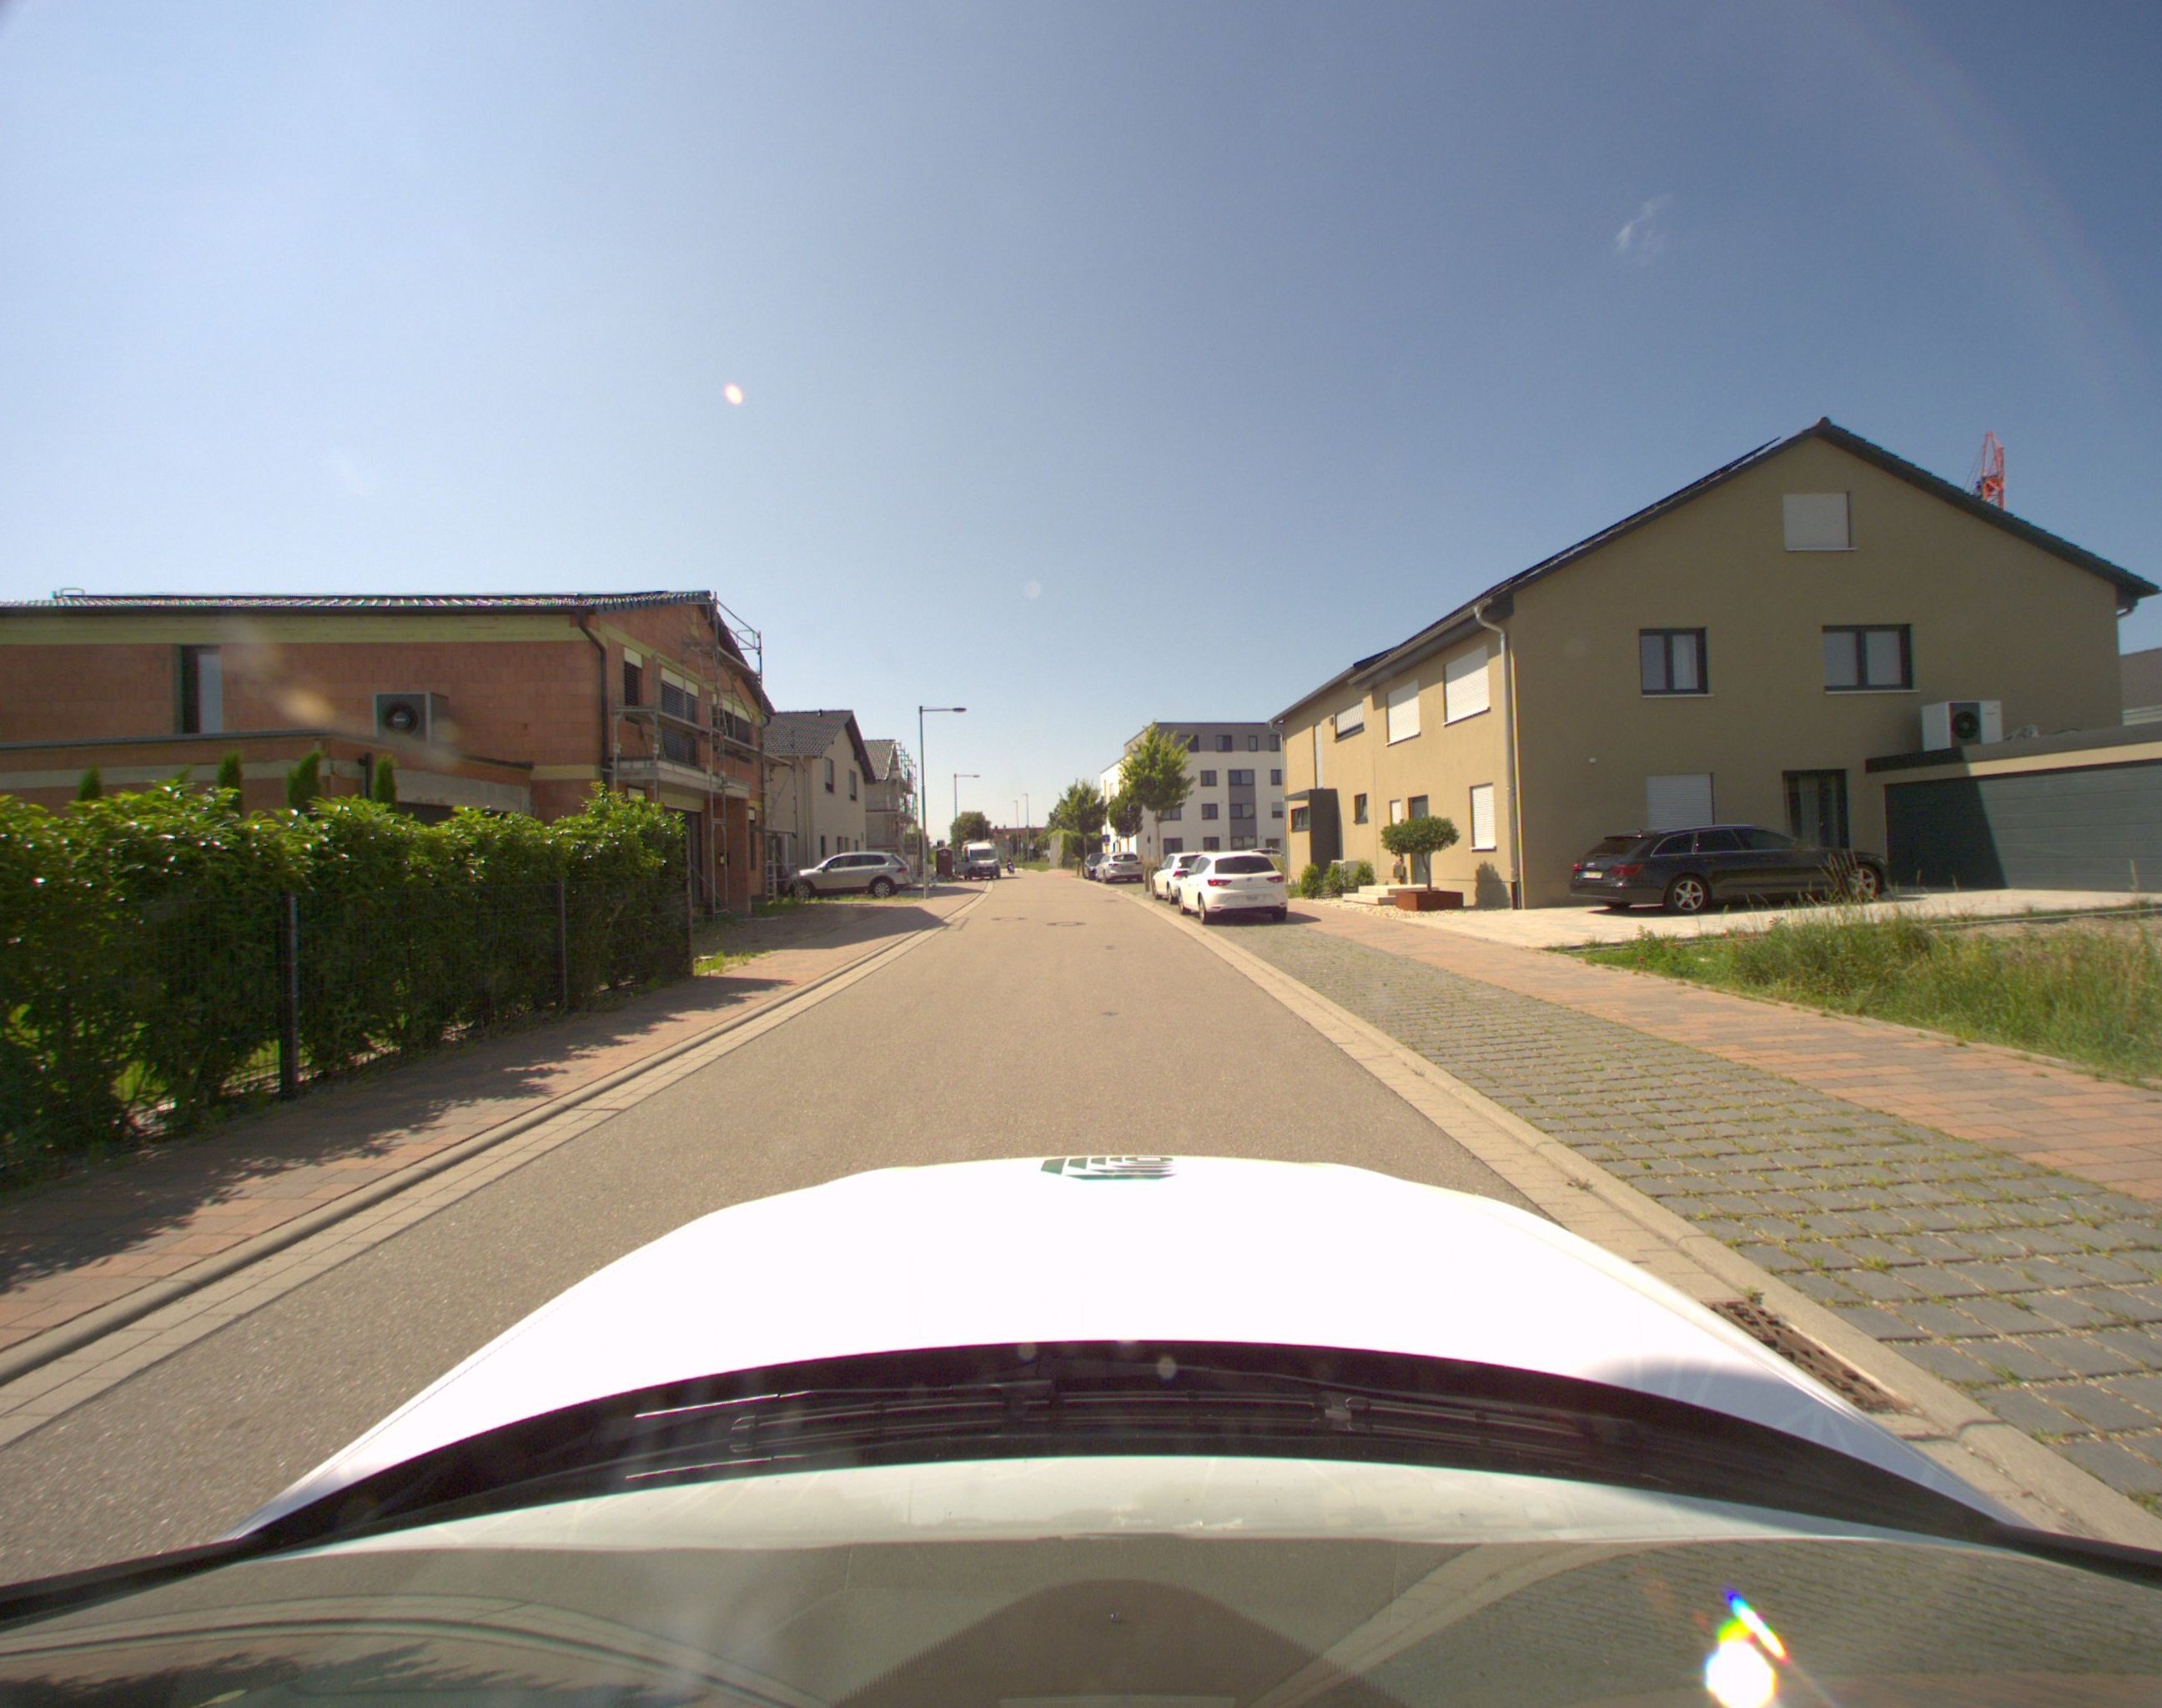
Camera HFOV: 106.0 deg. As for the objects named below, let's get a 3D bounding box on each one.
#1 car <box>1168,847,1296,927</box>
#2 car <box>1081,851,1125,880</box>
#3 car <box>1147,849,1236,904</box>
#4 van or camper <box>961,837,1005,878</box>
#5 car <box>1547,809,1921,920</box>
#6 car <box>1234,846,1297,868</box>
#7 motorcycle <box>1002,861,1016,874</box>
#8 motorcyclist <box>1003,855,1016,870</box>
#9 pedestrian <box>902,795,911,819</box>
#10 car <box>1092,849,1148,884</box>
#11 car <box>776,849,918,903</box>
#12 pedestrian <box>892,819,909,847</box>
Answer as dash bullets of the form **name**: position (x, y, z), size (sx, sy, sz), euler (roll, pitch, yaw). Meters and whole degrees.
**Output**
- **car**: position (3.202, 0.645, 18.201), size (1.810, 1.456, 4.560), euler (-3, 0, -2)
- **car**: position (1.180, 0.612, 46.462), size (1.915, 1.469, 5.131), euler (-3, 1, -5)
- **car**: position (3.207, 0.599, 24.533), size (1.776, 1.426, 4.508), euler (-3, 1, -4)
- **van or camper**: position (-6.665, 0.285, 54.670), size (2.275, 2.553, 6.339), euler (-2, -1, -13)
- **car**: position (11.107, 0.162, 14.119), size (4.873, 1.426, 1.999), euler (-4, 0, -1)
- **car**: position (13.825, 0.228, 61.053), size (4.157, 1.435, 1.877), euler (-2, -1, -9)
- **motorcycle**: position (-5.976, 1.109, 67.626), size (0.956, 1.035, 2.428), euler (-2, 1, -10)
- **motorcyclist**: position (-5.891, 0.689, 66.987), size (0.925, 1.222, 0.801), euler (-2, 0, -10)
- **pedestrian**: position (-11.679, -3.147, 54.430), size (0.562, 1.500, 0.745), euler (-2, -2, -12)
- **car**: position (1.848, 0.582, 40.443), size (1.916, 1.511, 5.283), euler (-3, 1, -7)
- **car**: position (-8.109, 0.739, 28.600), size (4.420, 1.612, 1.995), euler (-2, 0, -7)
- **pedestrian**: position (-11.033, -1.256, 49.708), size (0.571, 1.680, 0.753), euler (-4, -3, 41)
